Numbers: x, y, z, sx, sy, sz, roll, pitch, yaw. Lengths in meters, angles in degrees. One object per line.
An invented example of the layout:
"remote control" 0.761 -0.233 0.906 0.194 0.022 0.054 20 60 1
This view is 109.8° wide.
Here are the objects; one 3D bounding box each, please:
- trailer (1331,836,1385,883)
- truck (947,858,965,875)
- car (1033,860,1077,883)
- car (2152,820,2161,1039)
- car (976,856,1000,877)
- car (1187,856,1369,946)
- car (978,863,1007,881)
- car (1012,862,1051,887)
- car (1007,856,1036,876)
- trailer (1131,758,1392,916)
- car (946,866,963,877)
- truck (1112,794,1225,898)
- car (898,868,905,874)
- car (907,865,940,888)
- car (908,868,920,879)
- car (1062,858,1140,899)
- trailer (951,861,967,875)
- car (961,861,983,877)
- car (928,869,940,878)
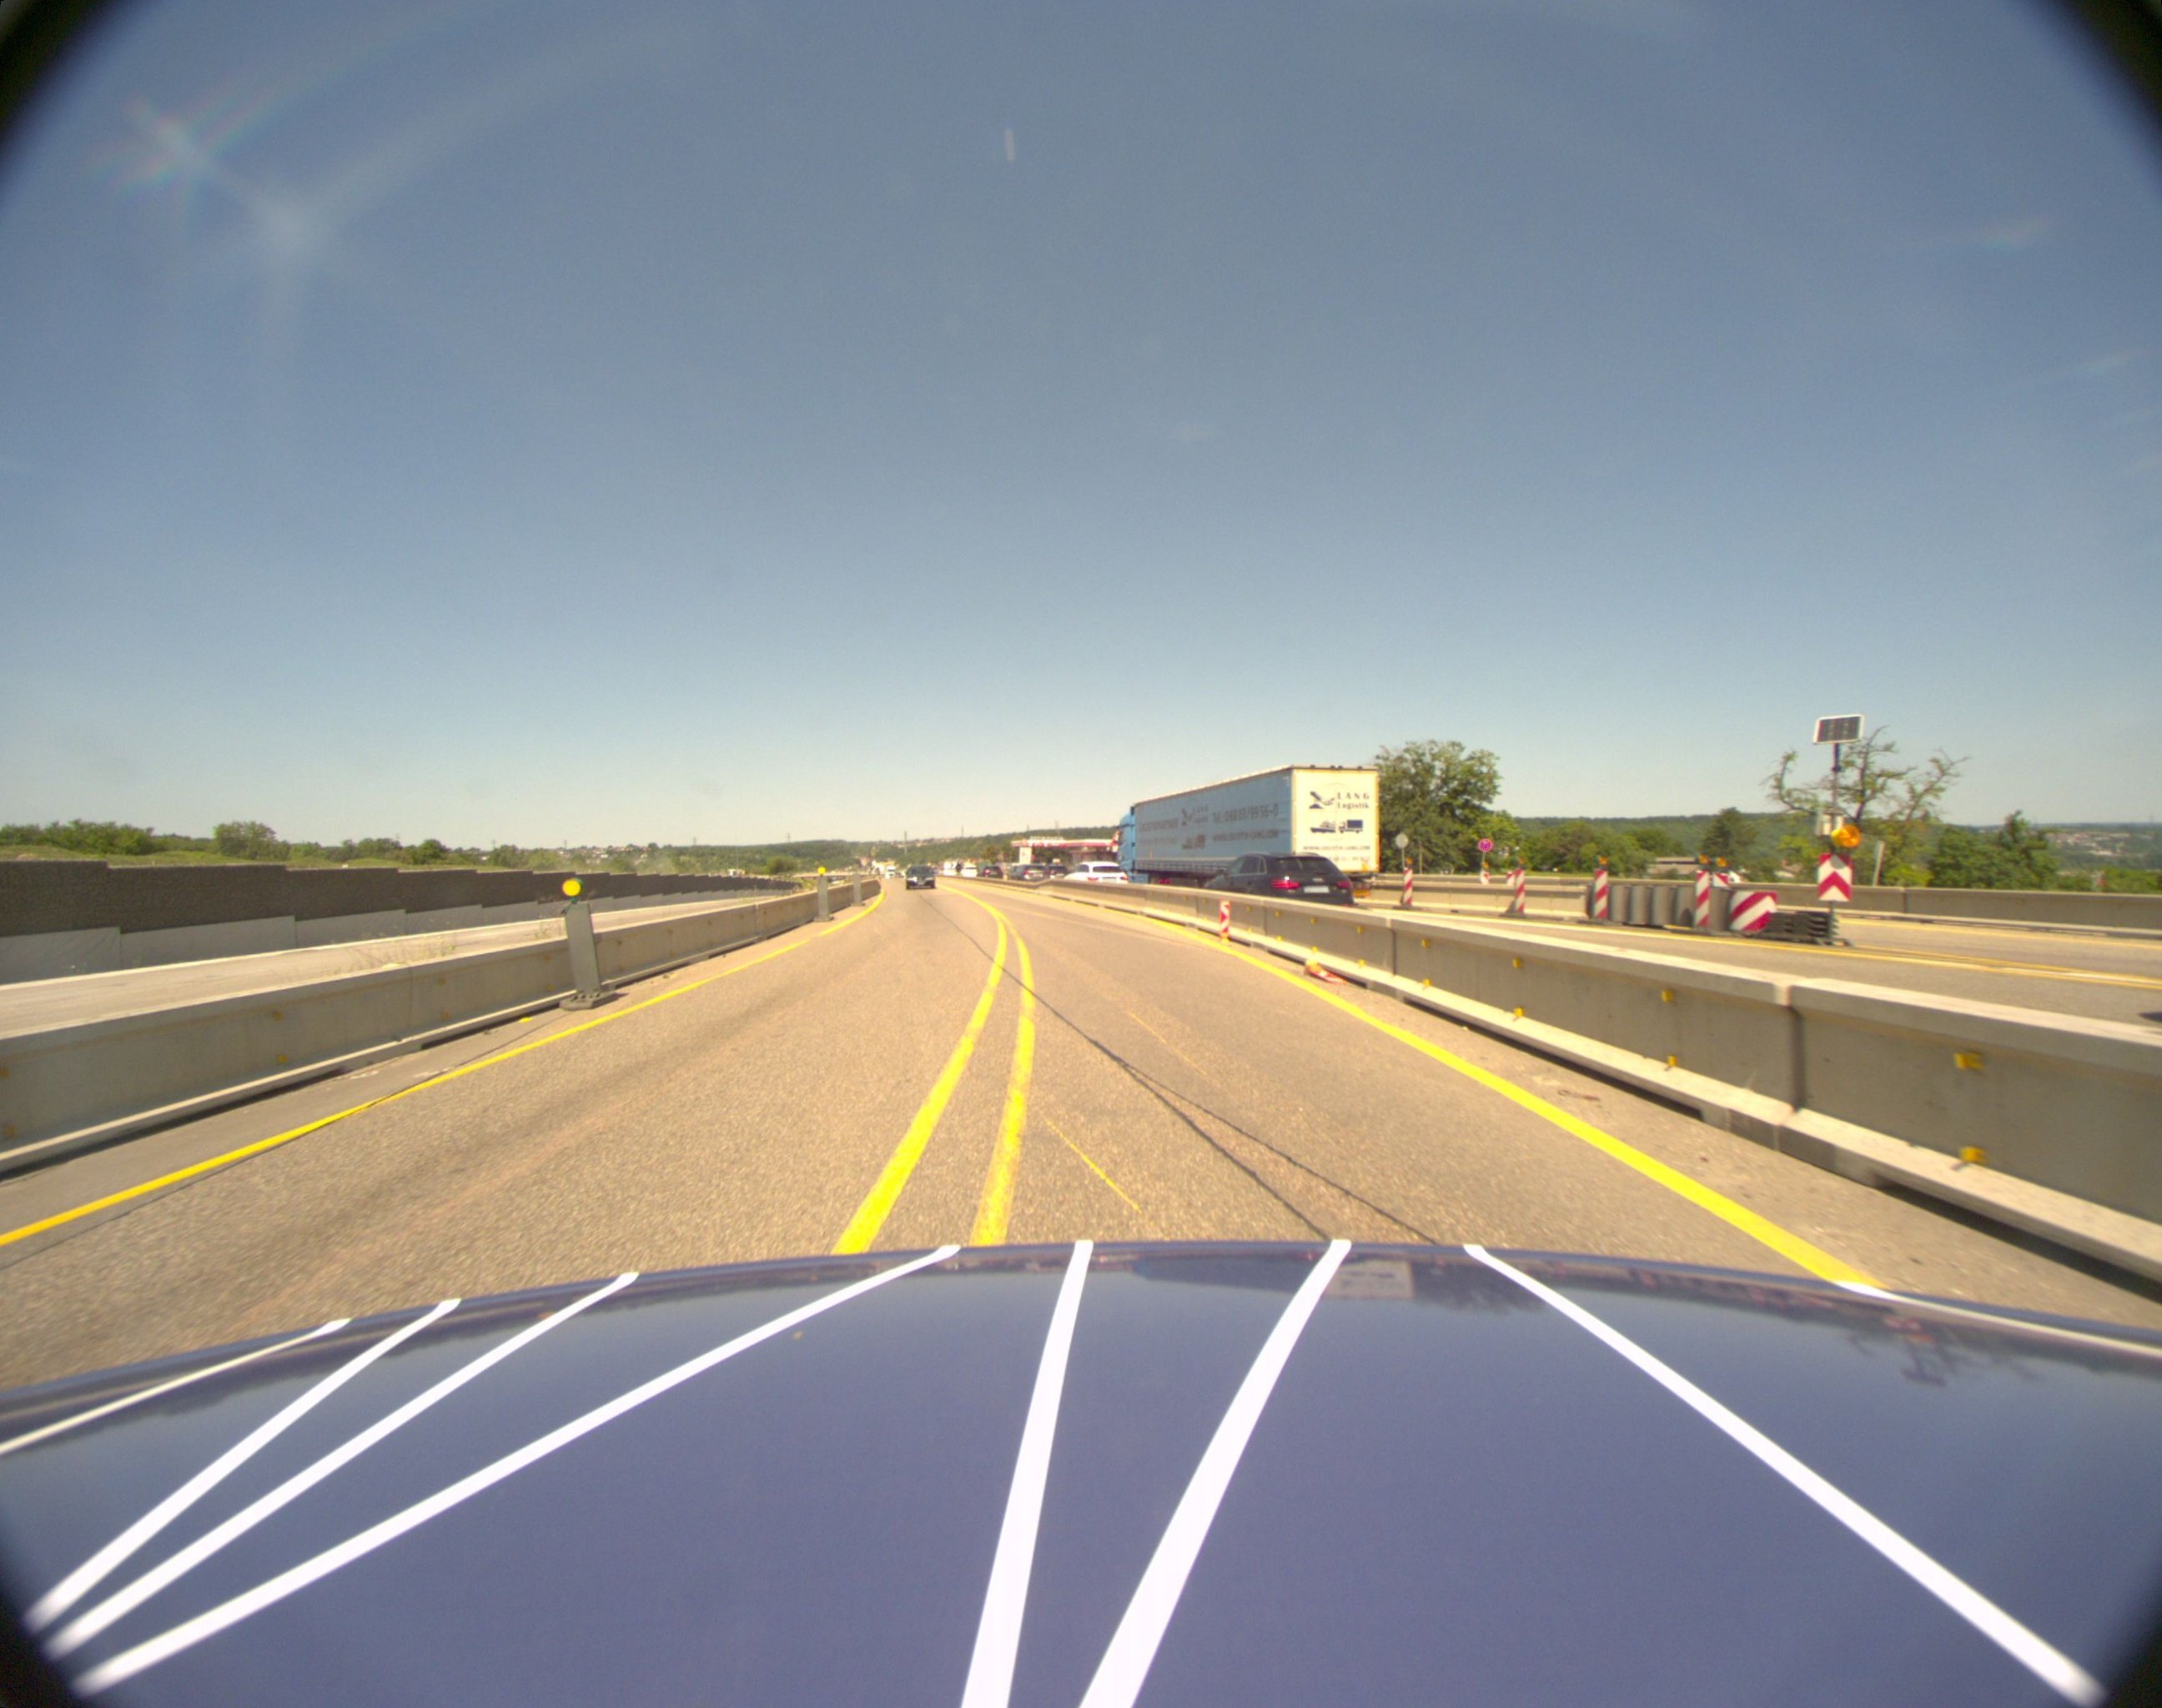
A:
"trailer" 26.315 0.582 72.860 3.155 4.086 14.180 0 -1 13
"truck" -22.054 2.219 133.605 2.489 2.807 8.120 0 -1 -14
"car" -1.820 1.179 51.882 2.001 1.391 4.575 -4 0 -14
"car" 9.687 0.600 3.842 1.780 1.754 4.708 0 0 -3
"car" -11.263 1.539 91.676 1.921 2.385 6.445 -5 0 -15
"car" 3.869 0.841 15.893 1.774 1.598 4.705 0 0 -12
"car" -7.389 1.484 63.181 1.780 1.419 4.765 1 -1 -14
"car" -2.991 1.217 45.561 1.595 1.432 4.120 1 -1 -14
"car" -5.292 1.035 67.317 1.773 1.588 3.995 -4 0 -15
"trailer" 5.268 -0.316 26.823 2.925 4.104 13.901 -1 -1 -14
"car" -17.125 2.315 102.387 1.823 1.368 4.242 -4 0 -14
"truck" 3.658 -0.260 33.354 2.925 4.104 6.132 -1 -1 -14
"car" -47.026 4.458 198.987 1.863 1.593 4.730 0 -2 -15
"car" -9.392 1.354 45.244 1.812 1.298 3.996 0 -2 -13
"car" -28.629 3.322 130.439 1.709 1.674 3.784 -3 0 -16
"car" 0.731 0.968 31.168 2.023 1.436 4.583 -4 0 -13
"trailer" -20.399 2.379 126.967 2.190 2.300 5.608 0 -1 -14
"car" -11.366 1.590 79.085 1.740 1.470 4.514 -4 0 -14
"car" -27.813 3.765 143.773 1.912 1.599 3.996 0 -2 -14
